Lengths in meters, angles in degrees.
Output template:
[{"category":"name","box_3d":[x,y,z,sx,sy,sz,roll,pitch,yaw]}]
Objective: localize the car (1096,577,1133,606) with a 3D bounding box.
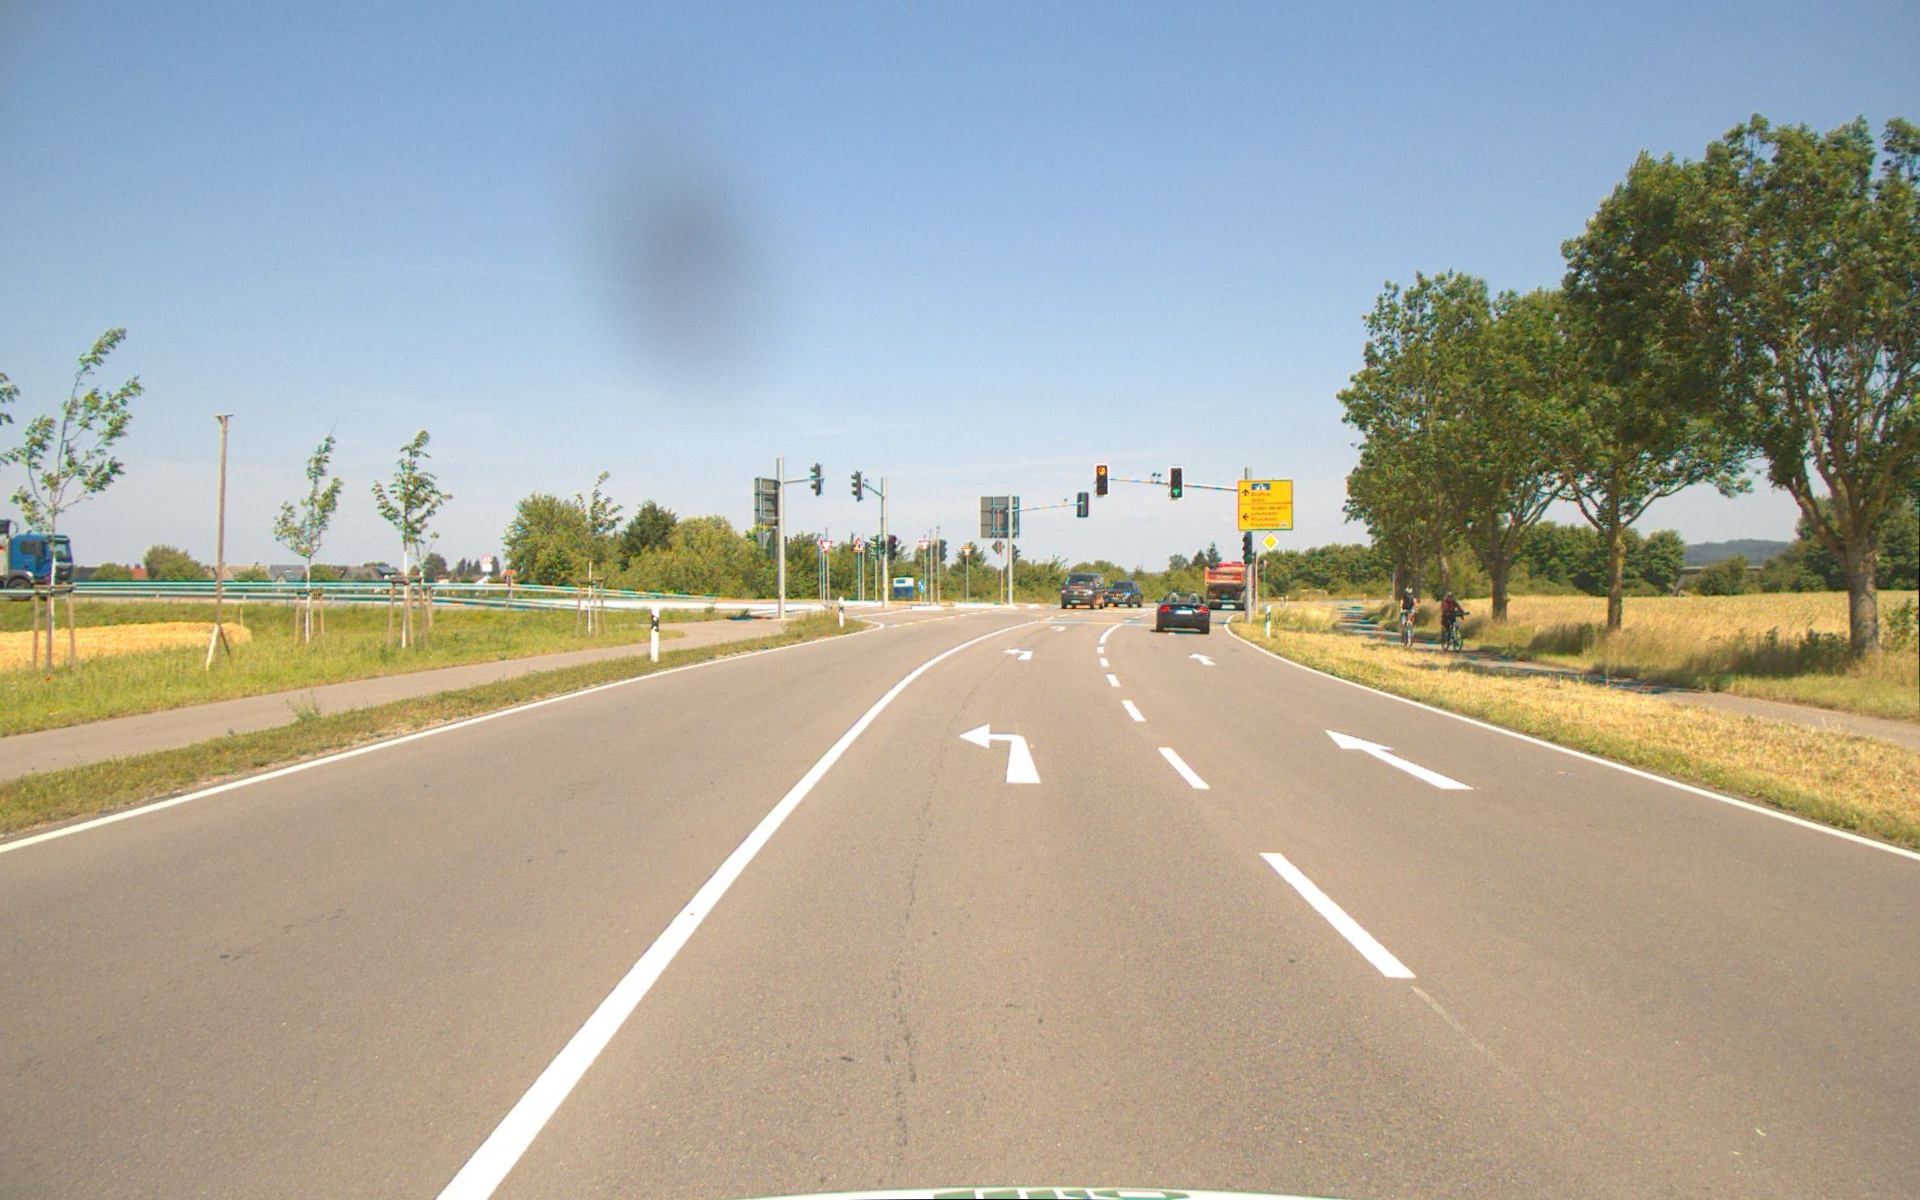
[{"category":"car","box_3d":[9.942,-0.553,106.107,1.889,1.770,4.893,1,1,11]}]

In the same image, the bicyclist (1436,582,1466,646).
[{"category":"bicyclist","box_3d":[14.308,0.397,48.209,0.614,1.813,0.979,4,1,10]}]

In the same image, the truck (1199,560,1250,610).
[{"category":"truck","box_3d":[17.408,-0.942,108.538,2.656,3.106,8.170,0,-1,14]}]

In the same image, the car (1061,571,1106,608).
[{"category":"car","box_3d":[6.941,-0.587,92.258,1.889,2.012,4.688,1,1,12]}]

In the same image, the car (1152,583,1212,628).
[{"category":"car","box_3d":[7.338,0.203,54.448,1.710,1.400,3.682,1,-1,11]}]

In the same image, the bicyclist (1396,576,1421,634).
[{"category":"bicyclist","box_3d":[14.019,0.140,51.733,0.575,1.764,1.173,4,2,13]}]

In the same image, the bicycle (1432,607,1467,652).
[{"category":"bicycle","box_3d":[14.265,0.835,48.203,0.684,1.231,2.053,3,0,9]}]

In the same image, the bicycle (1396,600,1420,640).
[{"category":"bicycle","box_3d":[13.981,0.612,51.693,0.592,1.197,2.052,3,1,13]}]

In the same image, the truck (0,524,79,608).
[{"category":"truck","box_3d":[-47.034,-1.641,77.511,9.881,3.859,2.624,1,1,-4]}]
